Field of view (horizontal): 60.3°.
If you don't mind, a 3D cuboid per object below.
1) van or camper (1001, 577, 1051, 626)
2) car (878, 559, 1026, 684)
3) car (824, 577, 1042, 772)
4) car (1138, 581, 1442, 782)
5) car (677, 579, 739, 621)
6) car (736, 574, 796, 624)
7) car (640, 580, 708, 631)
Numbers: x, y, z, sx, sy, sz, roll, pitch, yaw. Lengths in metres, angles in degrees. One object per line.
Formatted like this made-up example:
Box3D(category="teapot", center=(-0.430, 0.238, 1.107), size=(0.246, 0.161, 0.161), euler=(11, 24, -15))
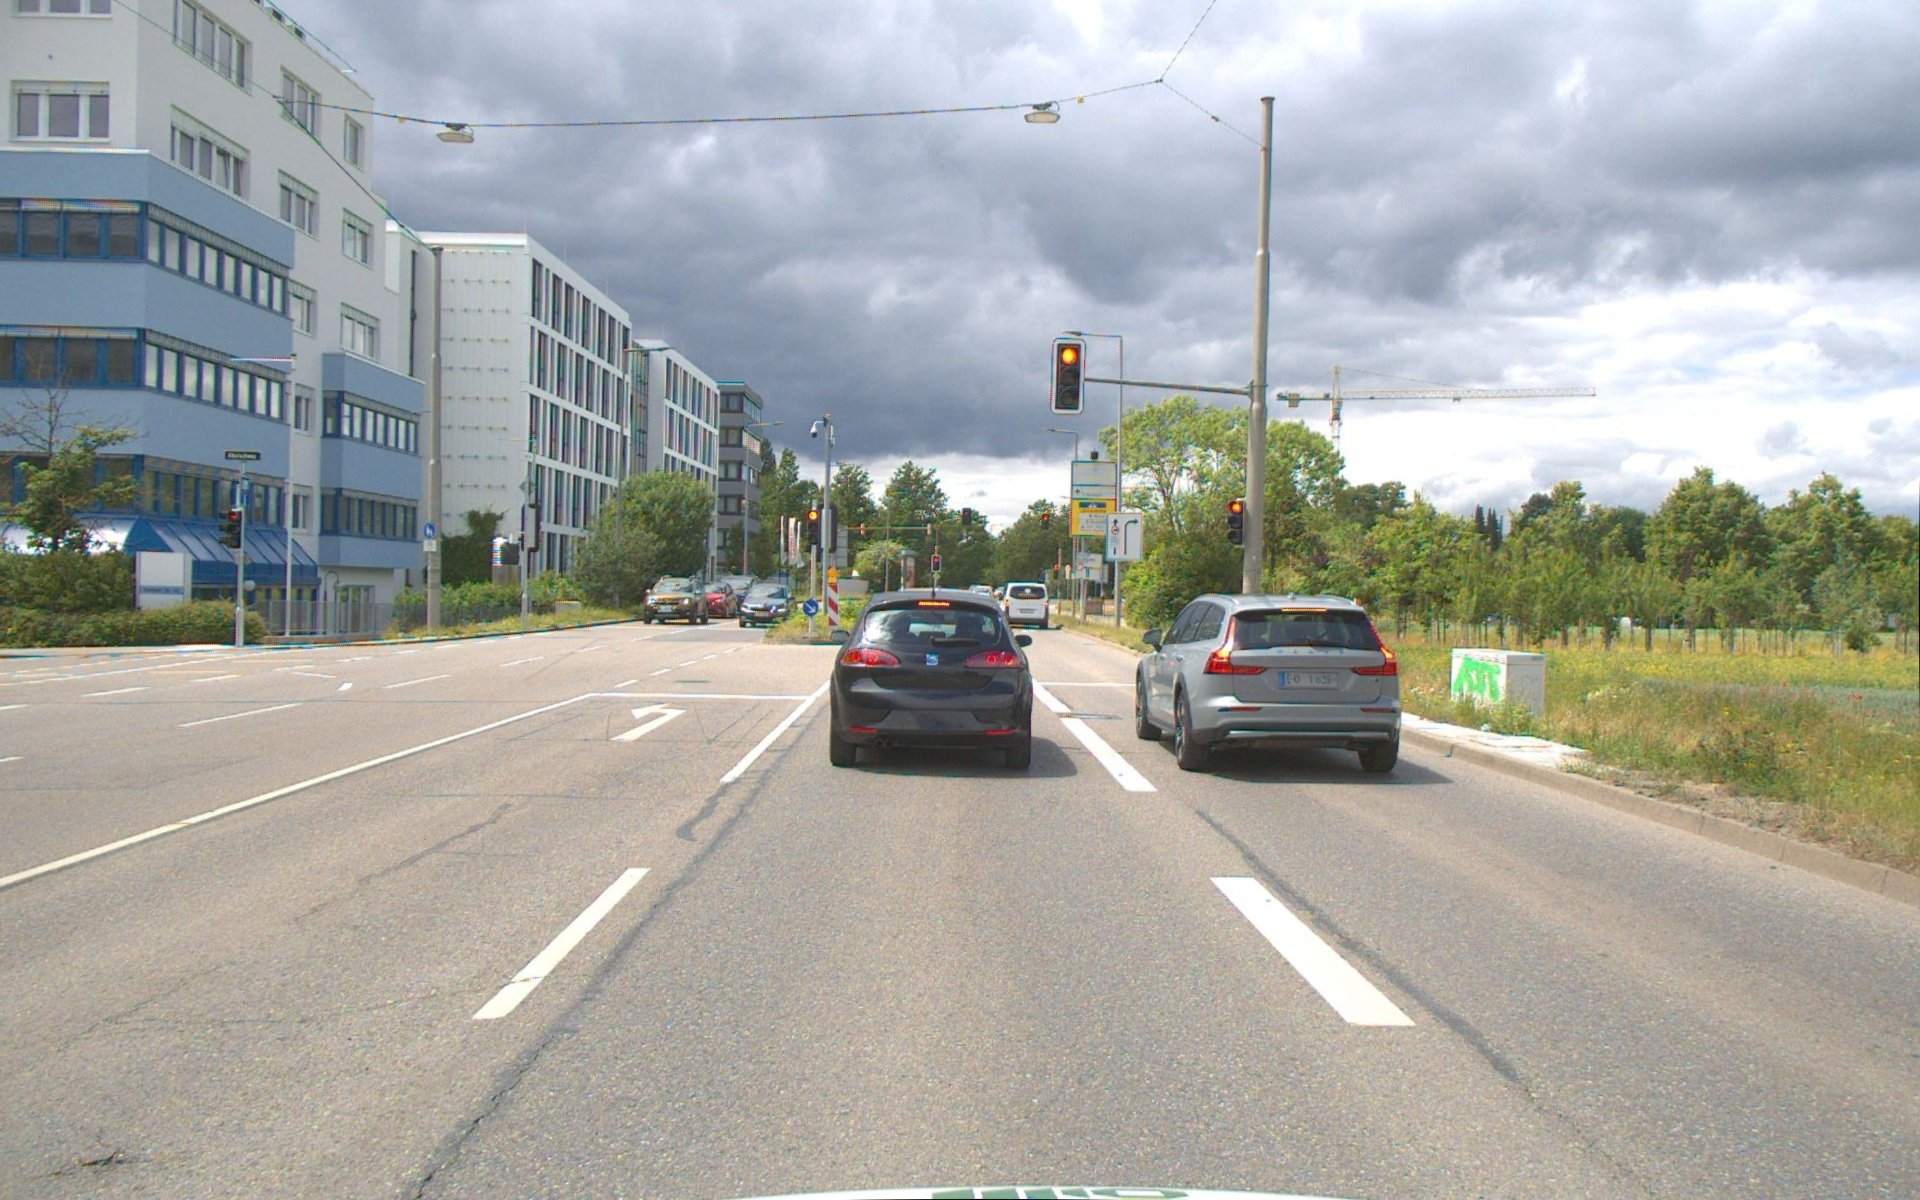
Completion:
Box3D(category="van or camper", center=(2.733, 0.059, 68.895), size=(1.860, 1.959, 3.999), euler=(1, 0, -1))
Box3D(category="car", center=(-0.169, 0.269, 24.174), size=(1.943, 1.618, 4.224), euler=(1, 0, -2))
Box3D(category="car", center=(-0.135, 0.597, 15.109), size=(1.711, 1.510, 4.001), euler=(1, 0, 2))
Box3D(category="car", center=(2.831, 0.650, 15.179), size=(1.918, 1.552, 4.340), euler=(-1, 0, 0))
Box3D(category="car", center=(-10.225, 0.023, 67.402), size=(1.739, 1.640, 4.001), euler=(1, 0, 2))
Box3D(category="car", center=(-6.590, -0.076, 56.495), size=(1.635, 1.551, 4.007), euler=(-1, 2, -1))
Box3D(category="car", center=(-9.893, 0.170, 57.535), size=(1.715, 1.659, 3.999), euler=(-1, 0, -1))
